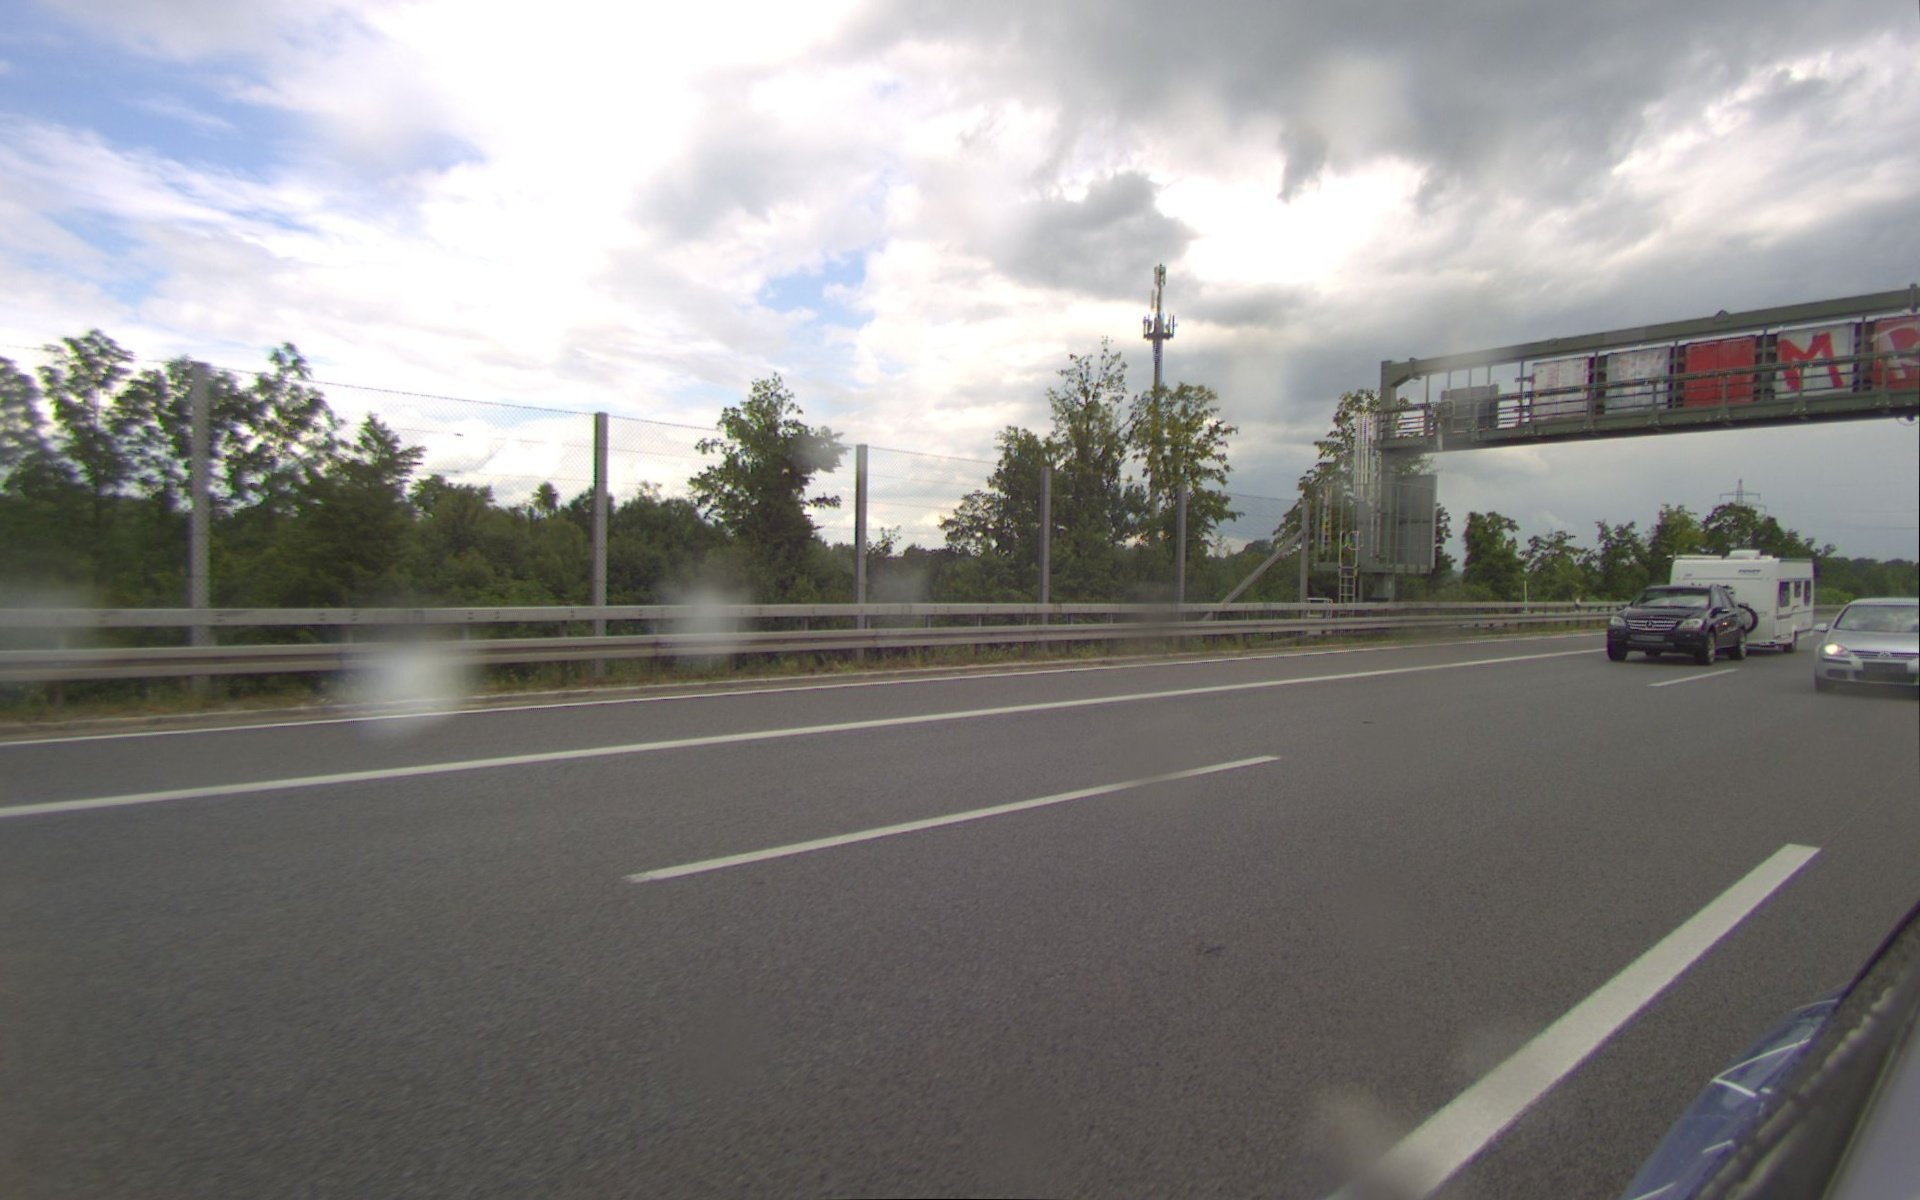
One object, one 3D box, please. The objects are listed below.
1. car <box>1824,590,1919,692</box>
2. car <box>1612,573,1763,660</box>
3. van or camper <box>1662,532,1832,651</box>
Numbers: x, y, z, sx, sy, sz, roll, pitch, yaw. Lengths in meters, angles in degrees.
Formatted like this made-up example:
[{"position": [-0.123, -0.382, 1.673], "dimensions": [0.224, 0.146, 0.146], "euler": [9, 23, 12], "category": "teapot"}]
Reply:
[{"position": [15.192, 0.587, 16.132], "dimensions": [3.931, 1.464, 1.681], "euler": [0, 1, -42], "category": "car"}, {"position": [16.707, 0.323, 23.156], "dimensions": [4.425, 1.798, 1.923], "euler": [0, 1, -42], "category": "car"}, {"position": [21.081, -0.215, 26.960], "dimensions": [7.085, 2.773, 2.387], "euler": [0, 0, -42], "category": "van or camper"}]
